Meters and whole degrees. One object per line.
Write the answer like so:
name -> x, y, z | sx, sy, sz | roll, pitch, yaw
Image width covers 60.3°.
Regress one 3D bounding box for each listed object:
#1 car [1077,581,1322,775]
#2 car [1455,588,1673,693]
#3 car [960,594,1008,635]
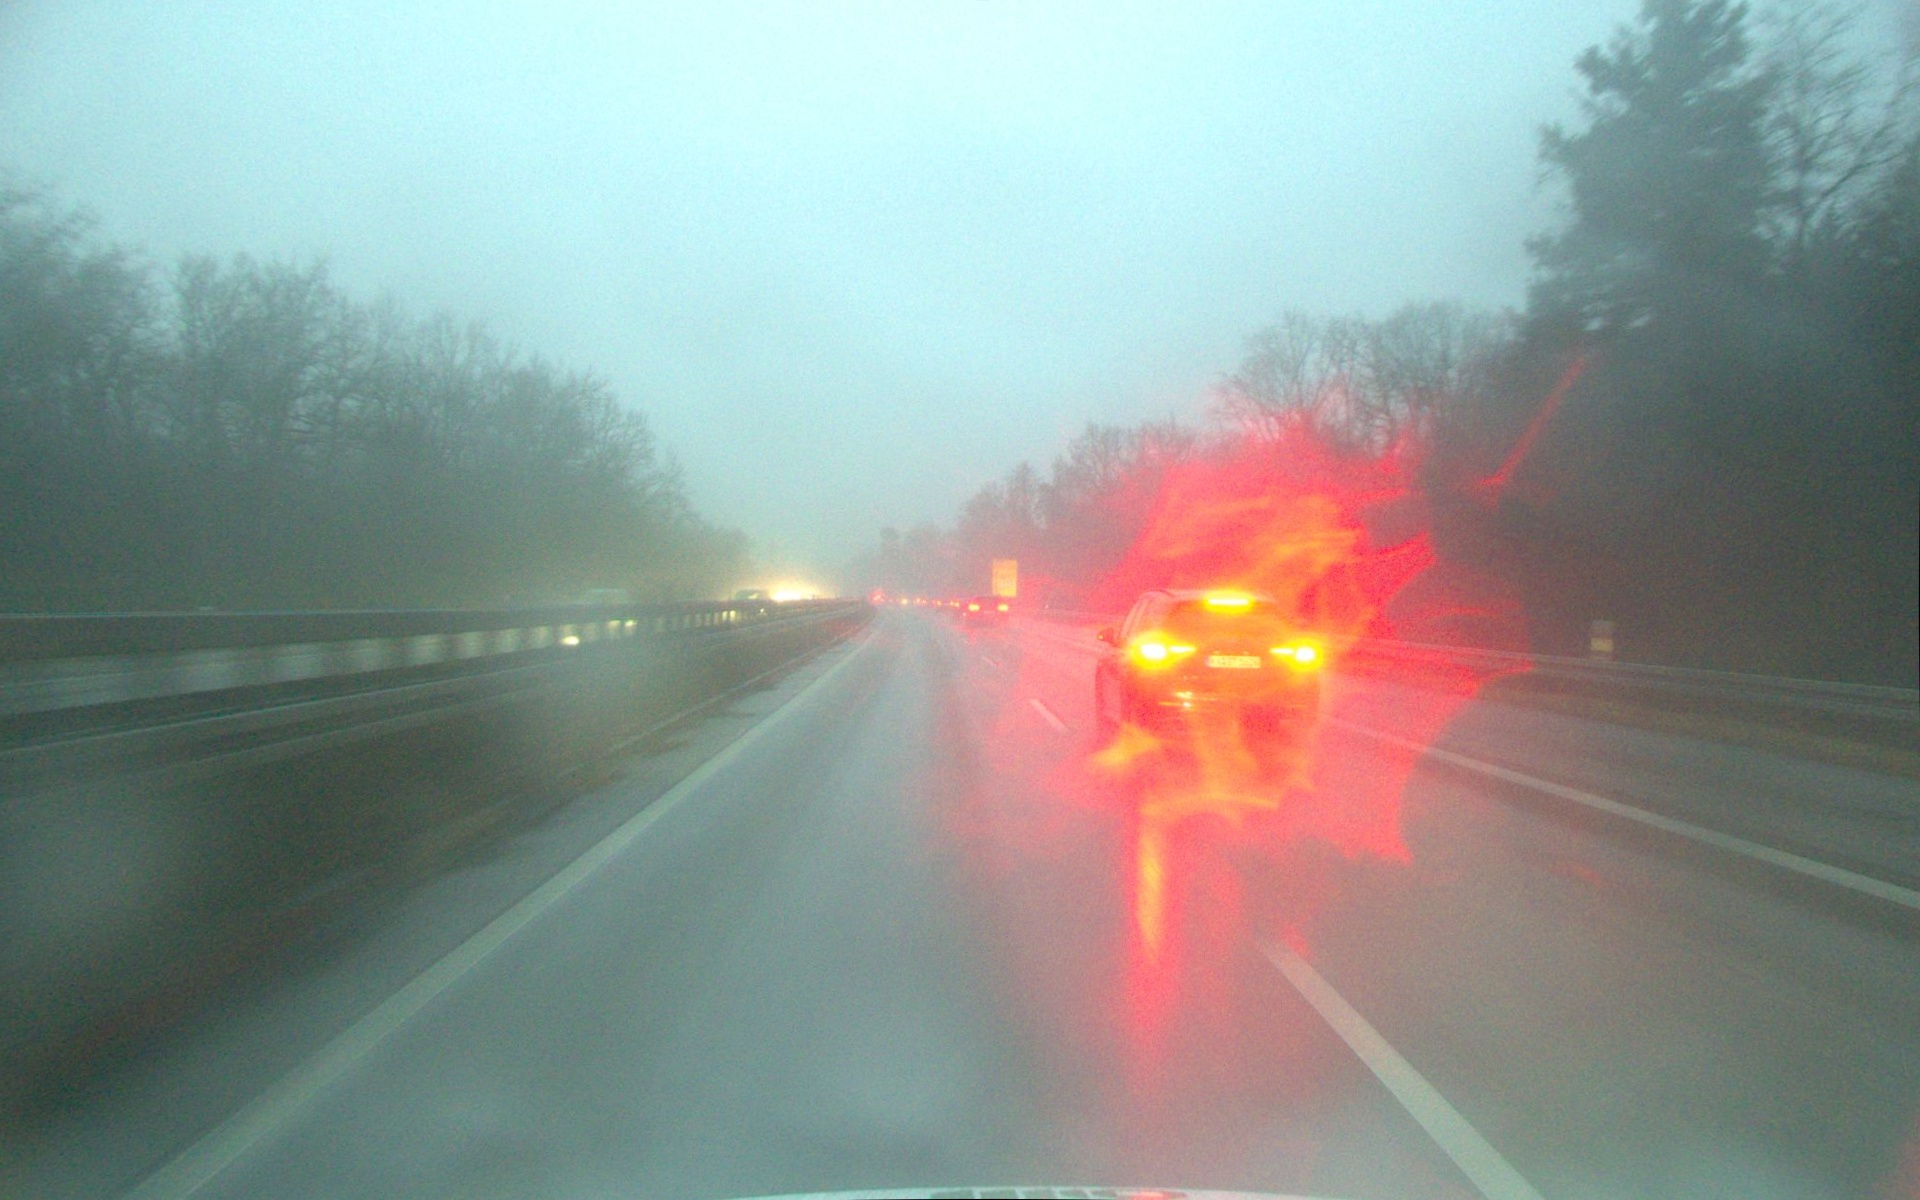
car -> 2.431, 0.762, 17.751 | 1.886, 1.823, 3.938 | 1, 0, -3
car -> 9.002, 0.577, 25.012 | 1.827, 1.443, 4.000 | 1, 0, 0
car -> 1.041, 0.631, 73.067 | 1.952, 1.745, 3.828 | 1, 0, -2
